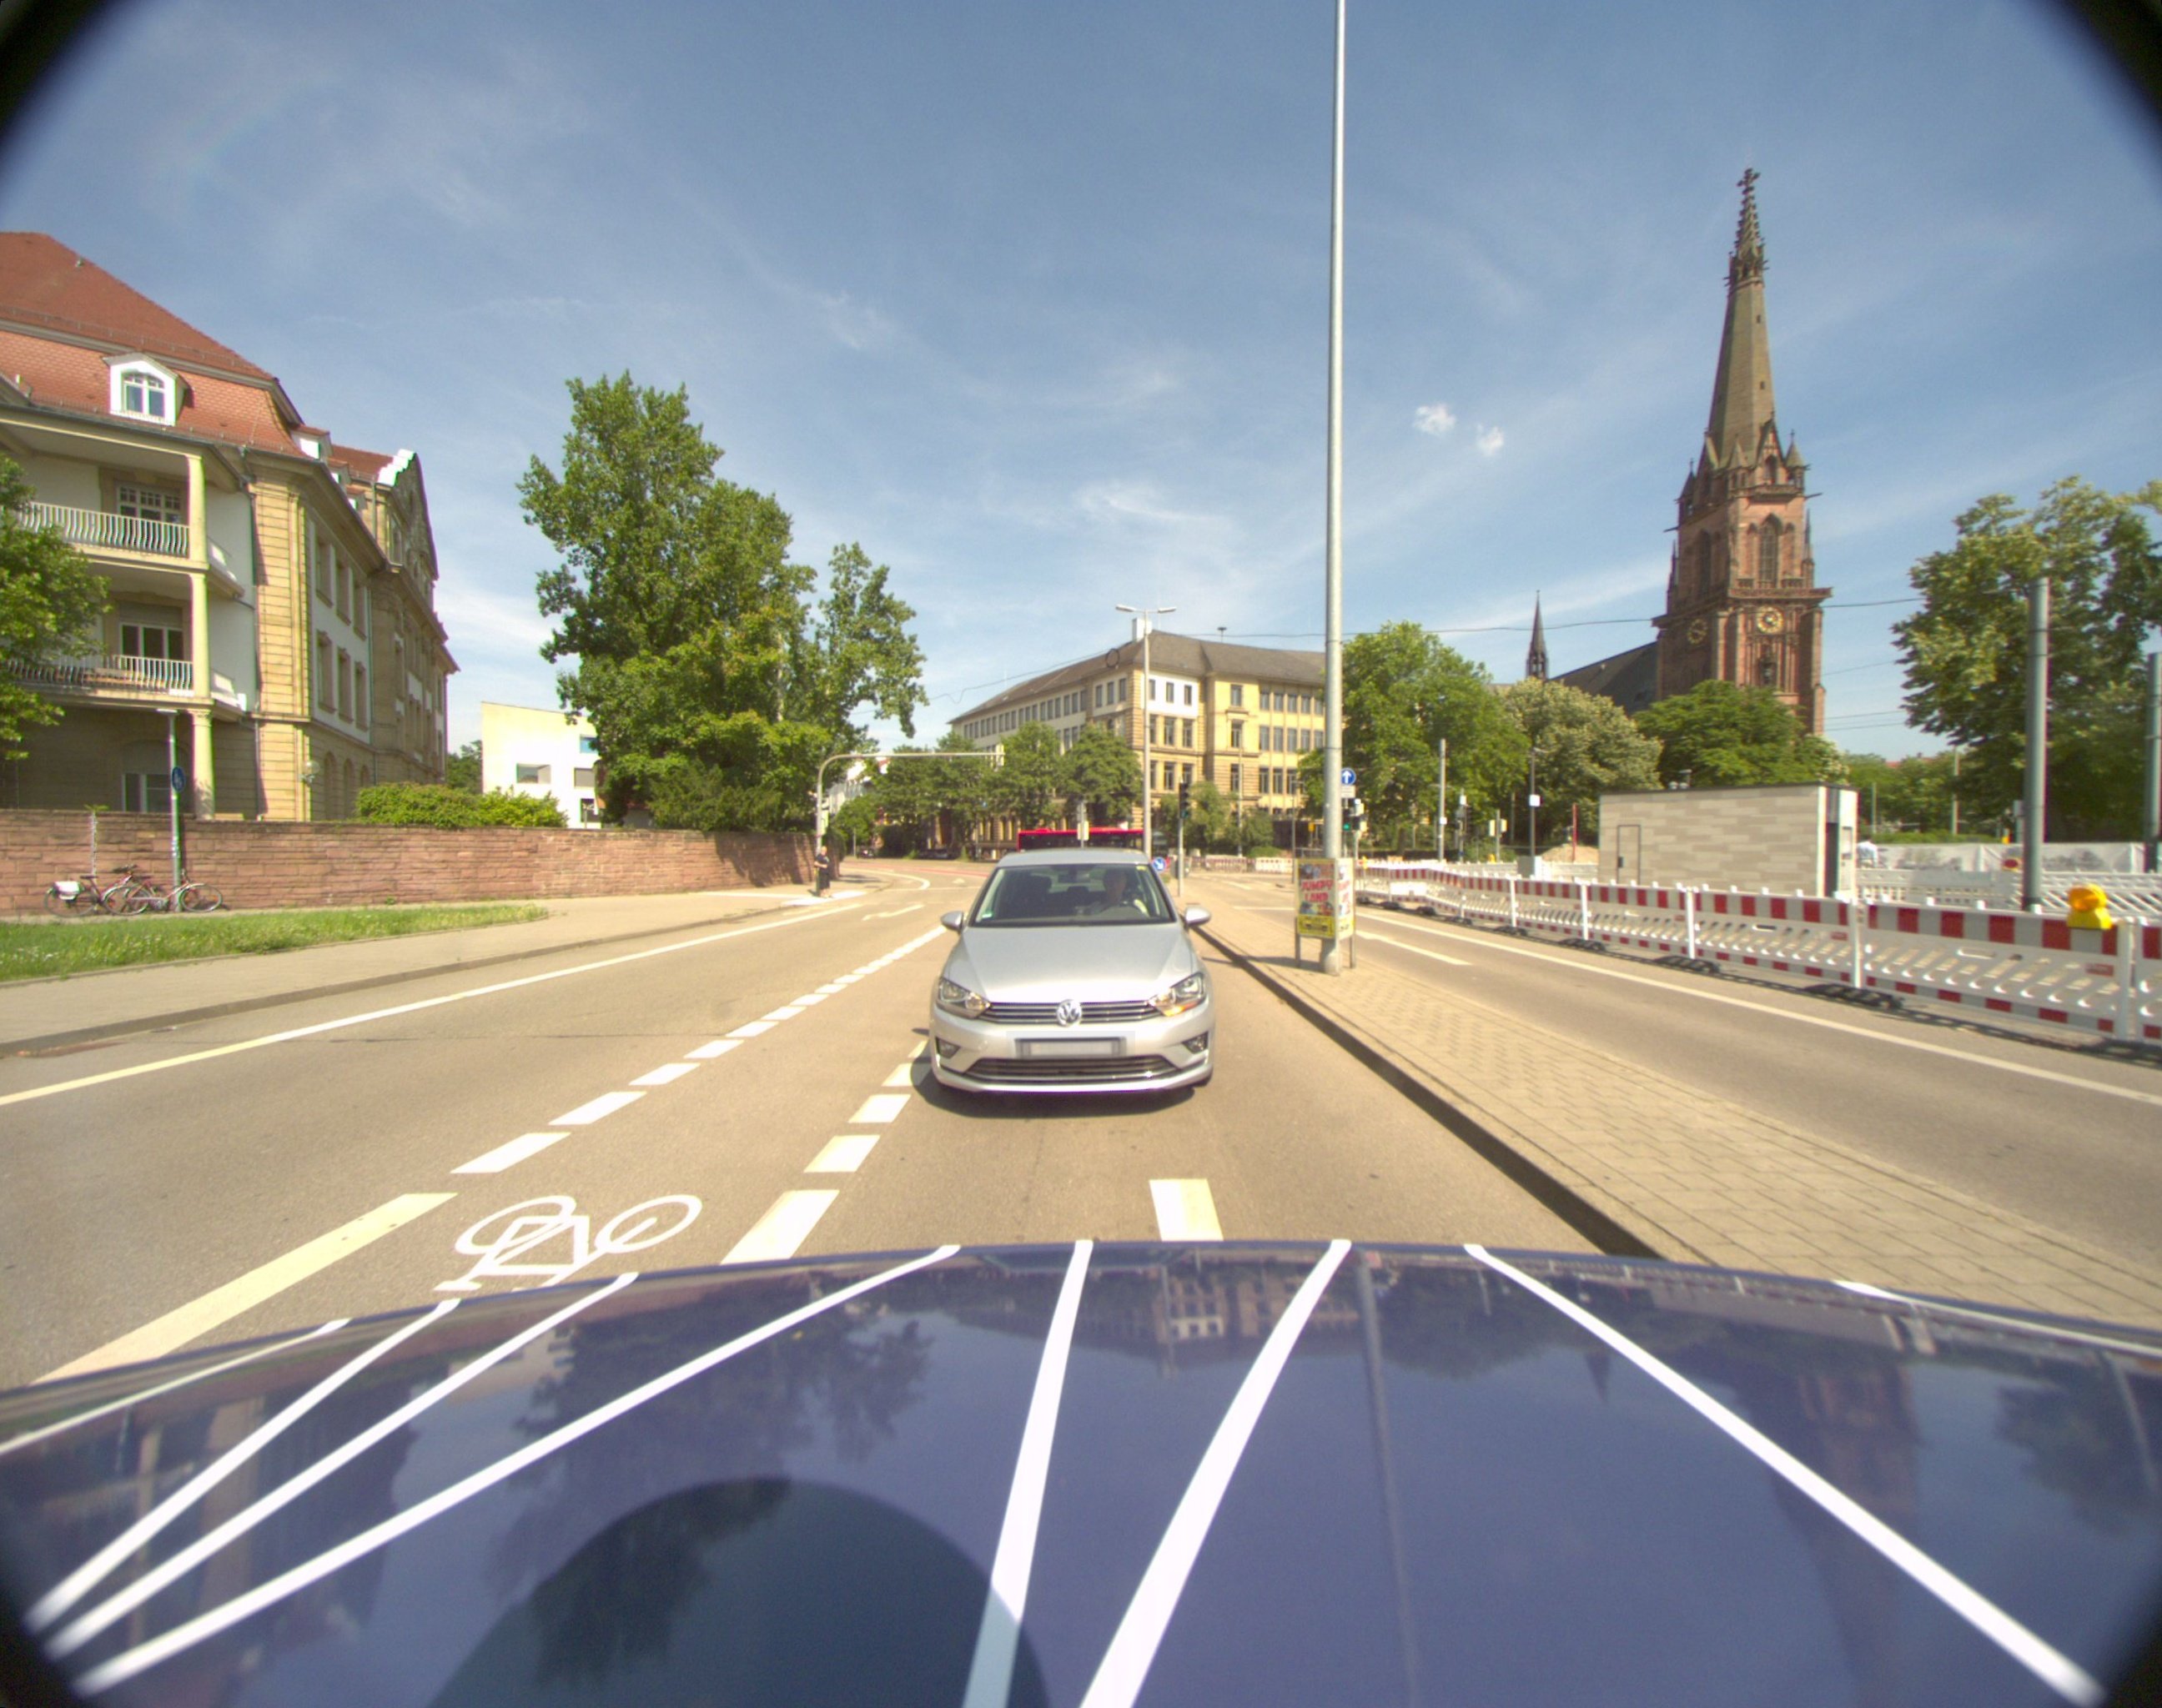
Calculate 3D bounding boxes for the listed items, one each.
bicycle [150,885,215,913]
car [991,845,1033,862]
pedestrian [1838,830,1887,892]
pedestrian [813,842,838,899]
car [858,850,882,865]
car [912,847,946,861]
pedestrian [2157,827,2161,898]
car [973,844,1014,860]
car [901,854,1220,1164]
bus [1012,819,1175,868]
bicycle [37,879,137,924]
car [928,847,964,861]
[{"bbox_3d":[-20.722,1.028,17.530,0.274,0.598,0.950,1,1,39],"label":"bicycle"},{"bbox_3d":[-7.431,-0.064,81.775,4.006,1.653,1.994,-3,4,-34],"label":"car"},{"bbox_3d":[25.512,0.220,24.806,0.820,2.002,0.686,1,1,3],"label":"pedestrian"},{"bbox_3d":[-9.100,0.573,27.064,0.796,2.002,0.615,0,1,-14],"label":"pedestrian"},{"bbox_3d":[-28.149,0.411,101.245,2.003,1.880,3.990,-3,1,-31],"label":"car"},{"bbox_3d":[-20.425,0.035,102.128,4.006,1.653,1.994,-3,4,-34],"label":"car"},{"bbox_3d":[30.765,0.241,21.266,0.822,2.002,0.684,0,2,-33],"label":"pedestrian"},{"bbox_3d":[-9.836,-0.247,85.445,4.006,1.653,1.994,-3,4,-36],"label":"car"},{"bbox_3d":[-0.014,0.817,6.106,1.687,1.577,4.152,0,1,3],"label":"car"},{"bbox_3d":[0.555,-0.647,53.306,12.378,3.076,3.139,-1,2,43],"label":"bus"},{"bbox_3d":[-21.399,0.997,16.384,0.393,0.878,1.230,1,1,20],"label":"bicycle"},{"bbox_3d":[-17.460,-0.020,98.229,4.006,1.653,1.994,-3,4,-35],"label":"car"}]
